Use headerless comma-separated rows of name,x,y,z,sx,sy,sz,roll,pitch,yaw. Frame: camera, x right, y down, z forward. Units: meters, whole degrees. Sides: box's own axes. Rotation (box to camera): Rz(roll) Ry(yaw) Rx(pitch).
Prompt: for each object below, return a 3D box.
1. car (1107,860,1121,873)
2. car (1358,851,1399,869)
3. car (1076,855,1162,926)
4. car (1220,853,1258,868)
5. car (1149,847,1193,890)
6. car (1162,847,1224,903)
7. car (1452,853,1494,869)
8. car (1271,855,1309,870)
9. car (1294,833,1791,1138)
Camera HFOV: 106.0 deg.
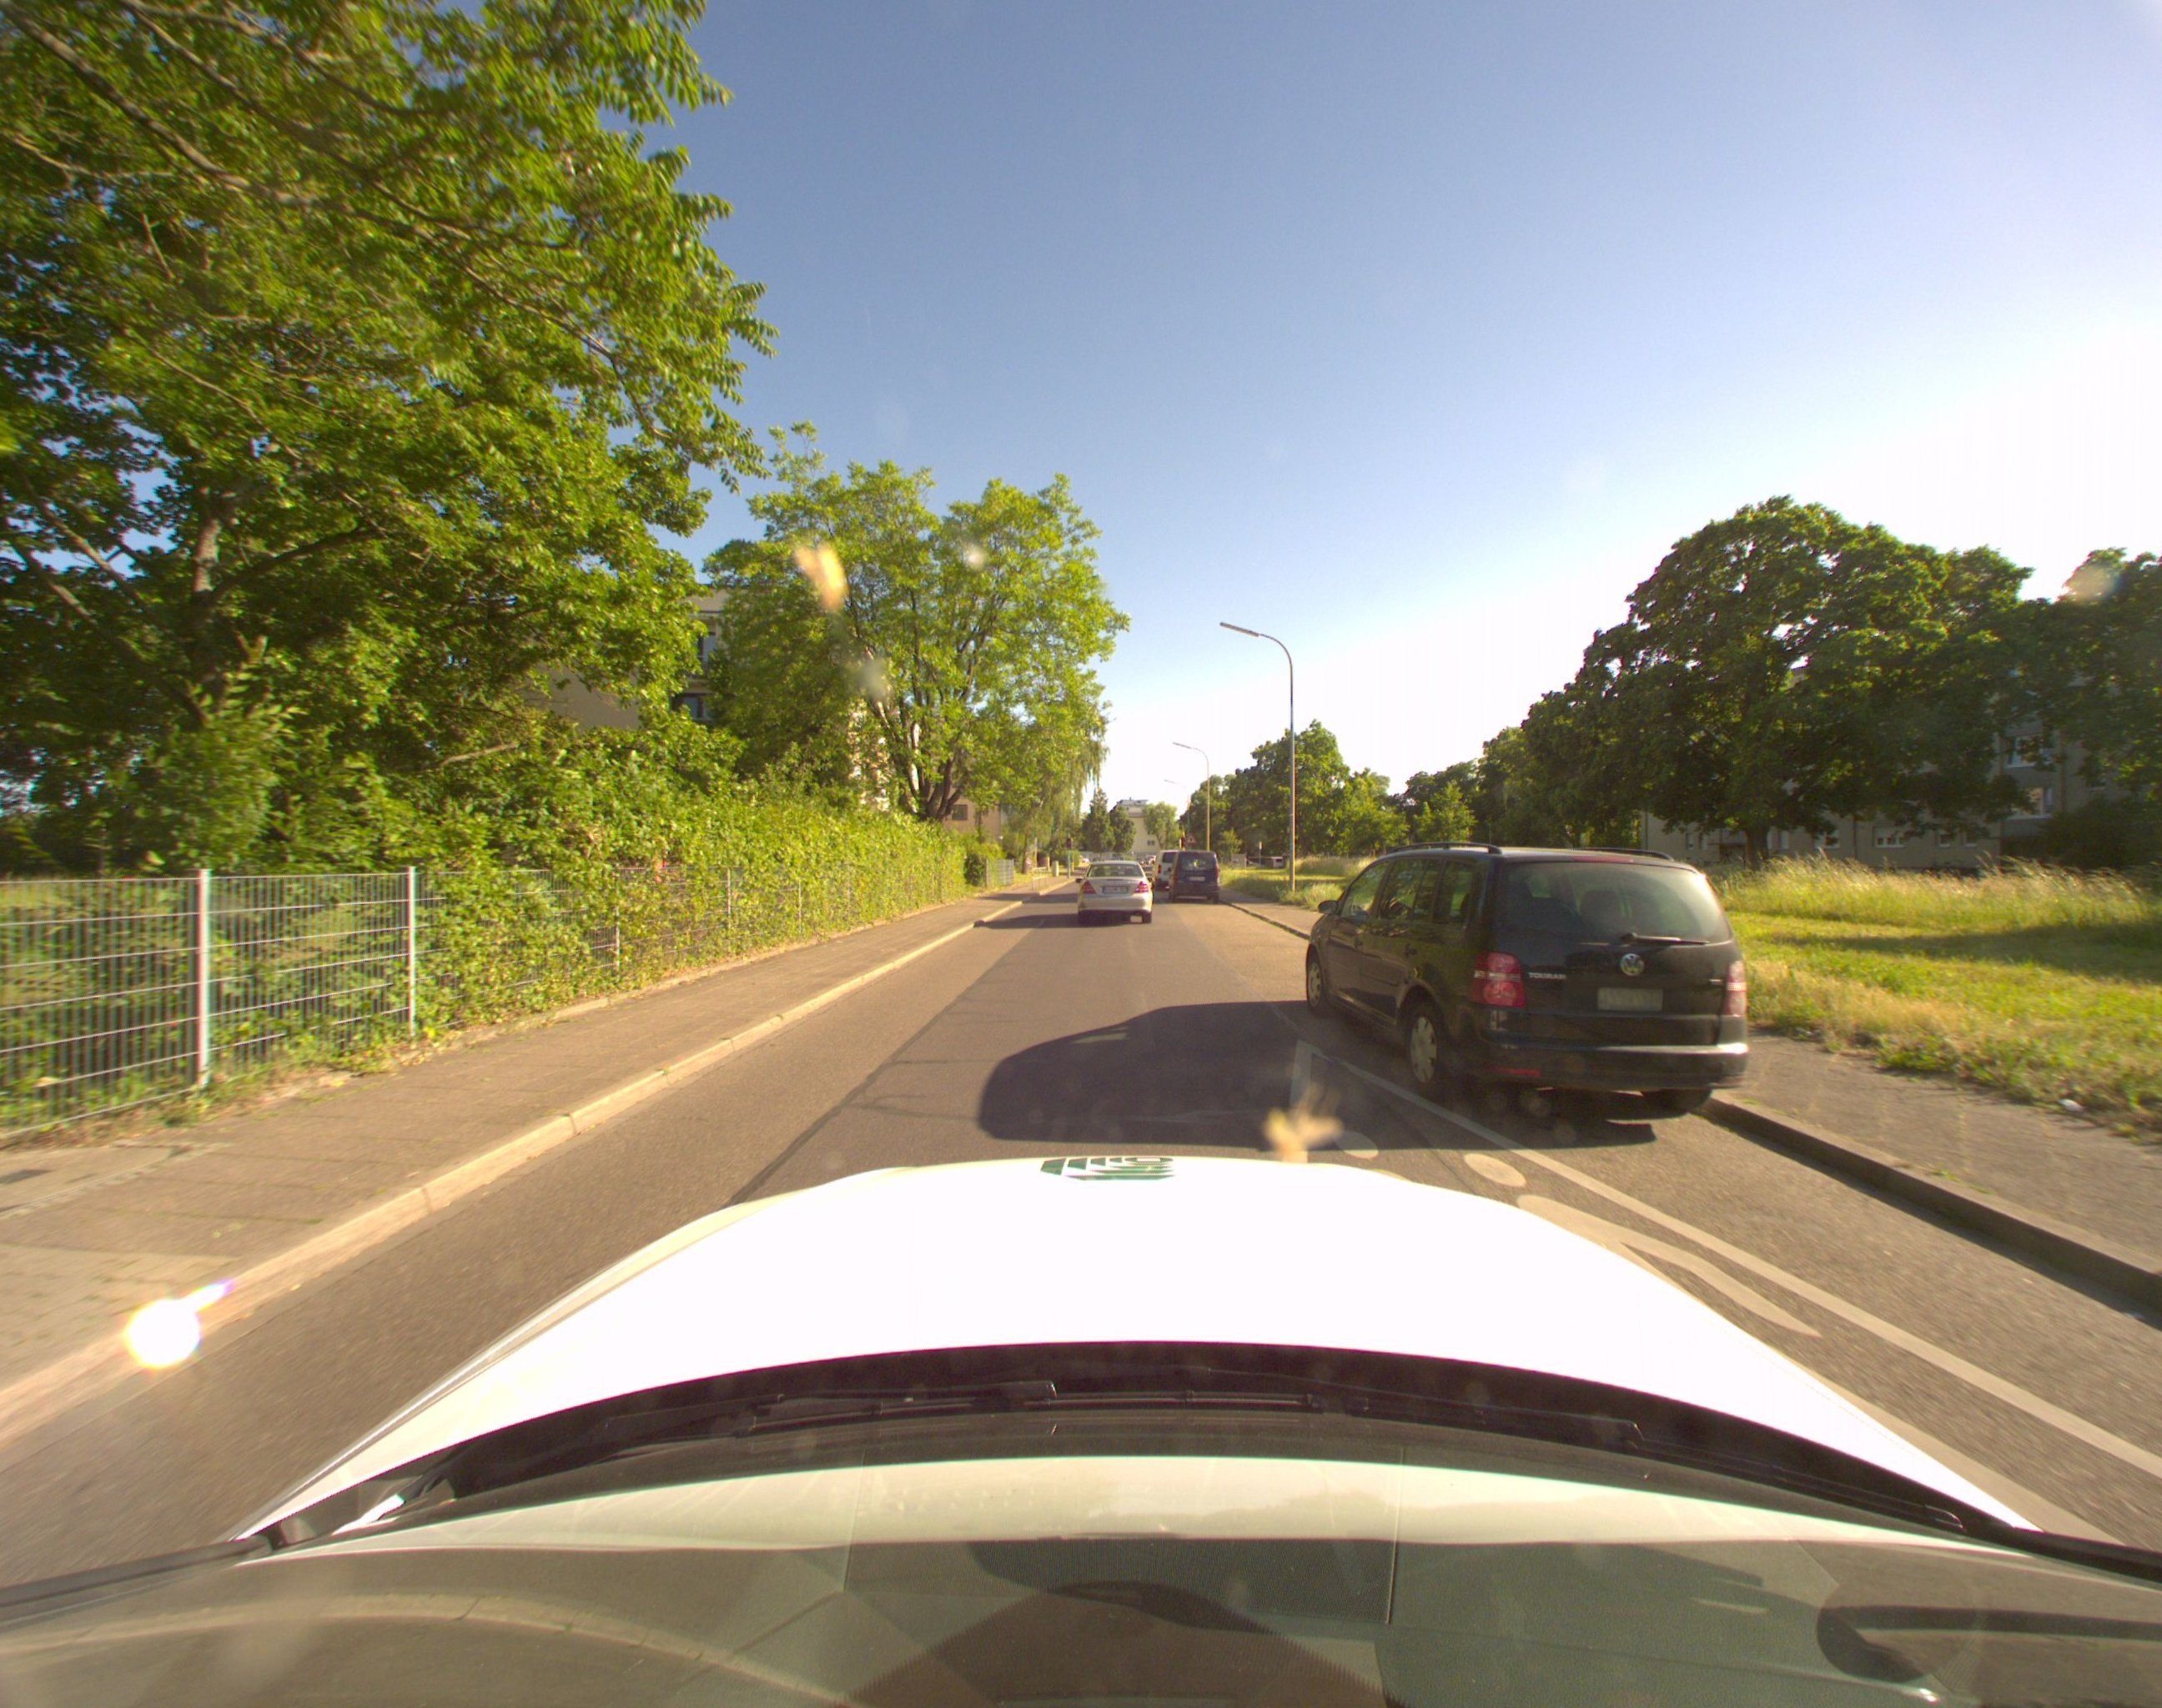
car,4.587,1.755,113.689,1.878,1.728,4.001,0,-2,2
car,29.526,0.616,80.889,3.674,1.618,1.707,-1,-3,17
car,0.825,0.793,19.730,1.810,1.463,4.360,-2,0,0
car,16.545,0.666,85.135,3.674,1.442,1.707,-1,-3,17
car,4.211,0.657,38.628,1.692,1.851,3.852,2,0,2
car,3.870,0.683,28.600,1.692,1.759,3.852,2,0,2
car,41.438,0.797,86.056,3.679,1.618,1.704,0,-3,11
car,21.517,0.939,83.938,3.674,1.471,1.707,-1,-3,17
car,3.050,0.721,6.455,1.692,1.610,4.000,2,0,1
